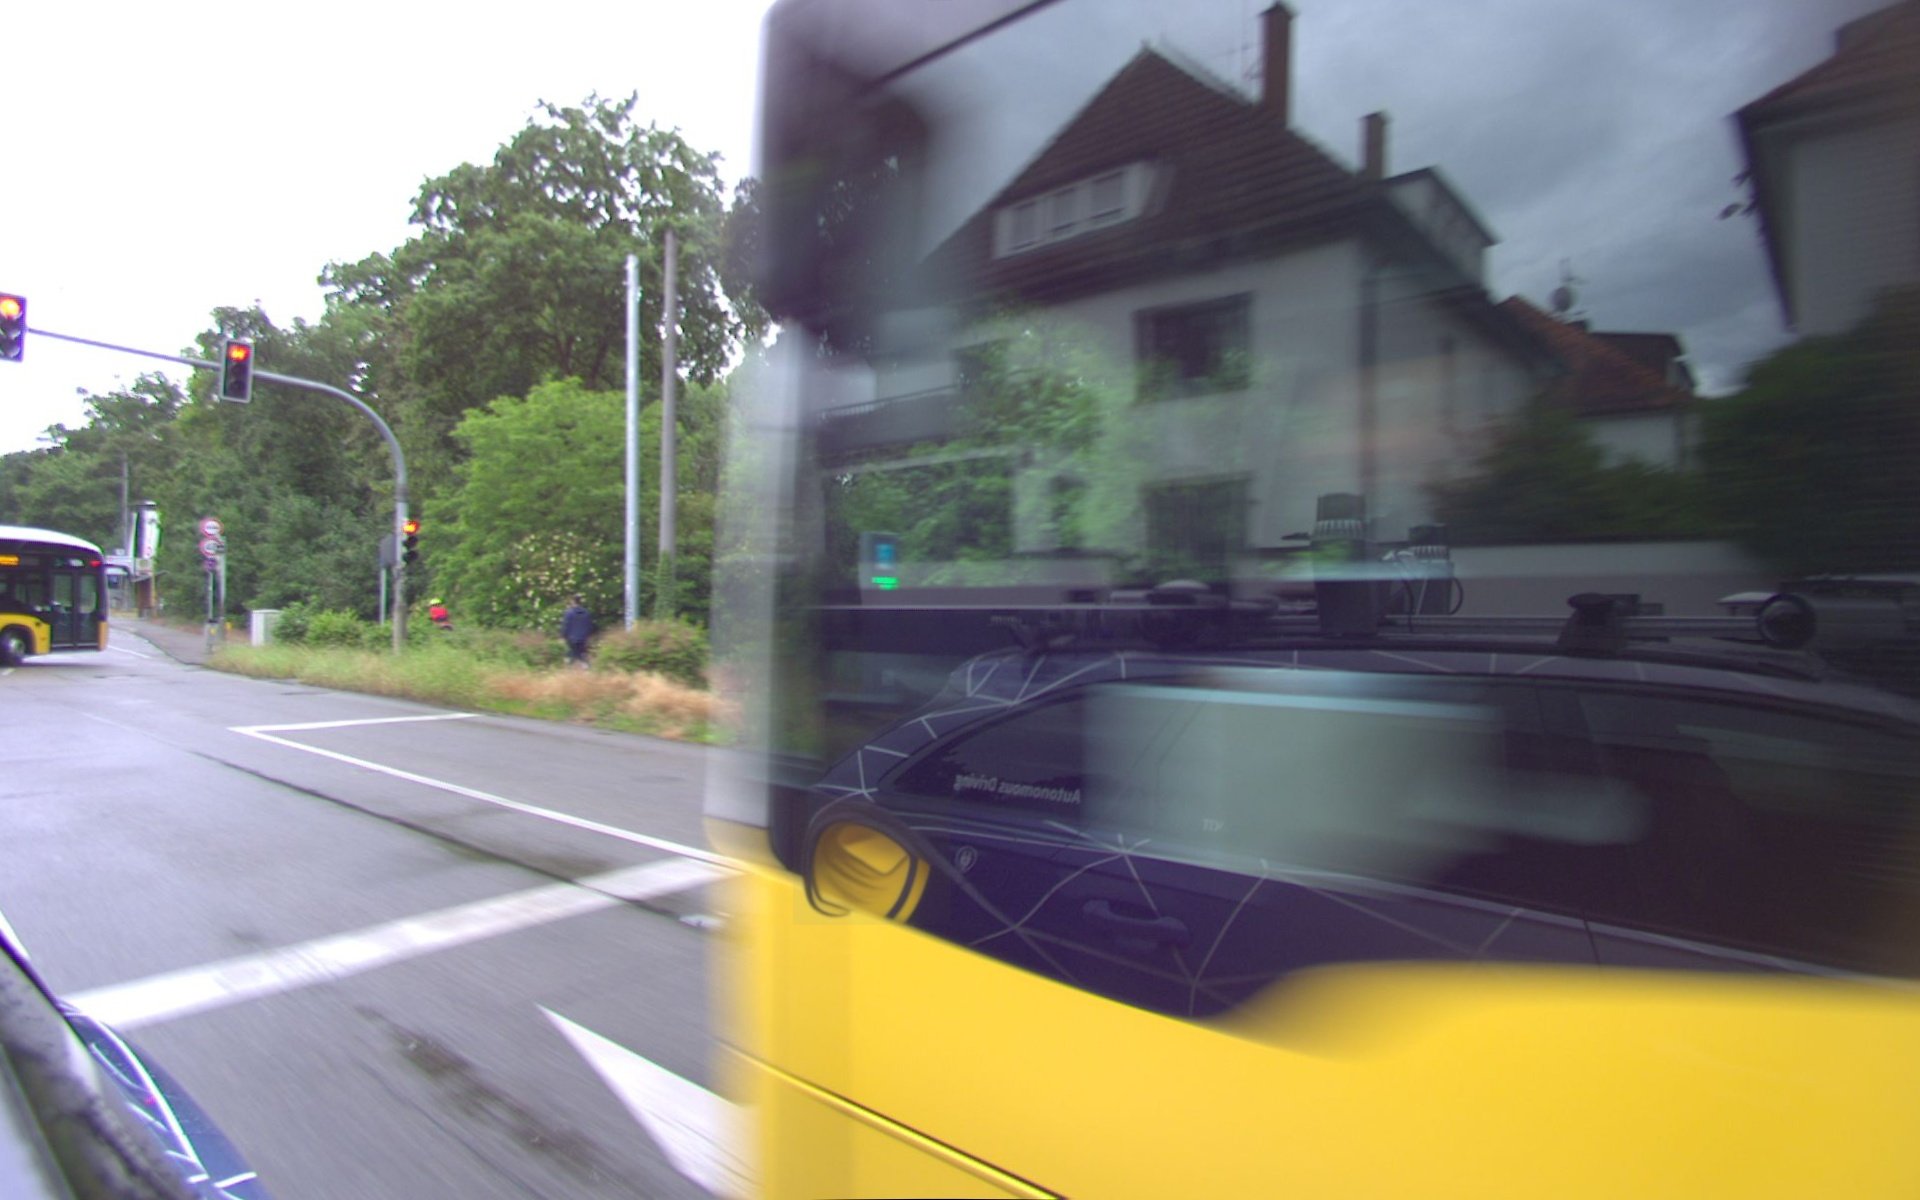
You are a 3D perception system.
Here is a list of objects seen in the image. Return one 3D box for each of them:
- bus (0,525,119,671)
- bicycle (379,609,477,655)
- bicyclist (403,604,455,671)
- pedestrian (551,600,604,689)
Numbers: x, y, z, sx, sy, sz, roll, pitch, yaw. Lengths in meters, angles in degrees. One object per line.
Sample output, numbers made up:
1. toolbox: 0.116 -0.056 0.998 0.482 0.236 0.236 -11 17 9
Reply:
1. bus: -24.017 -0.058 22.411 2.872 3.424 9.028 -1 -1 4
2. bicycle: -13.506 0.796 25.736 2.122 1.105 0.581 0 0 -44
3. bicyclist: -13.505 0.934 25.734 1.033 1.665 0.581 1 0 -43
4. pedestrian: -8.032 0.914 21.266 0.763 1.813 0.767 0 -1 42
